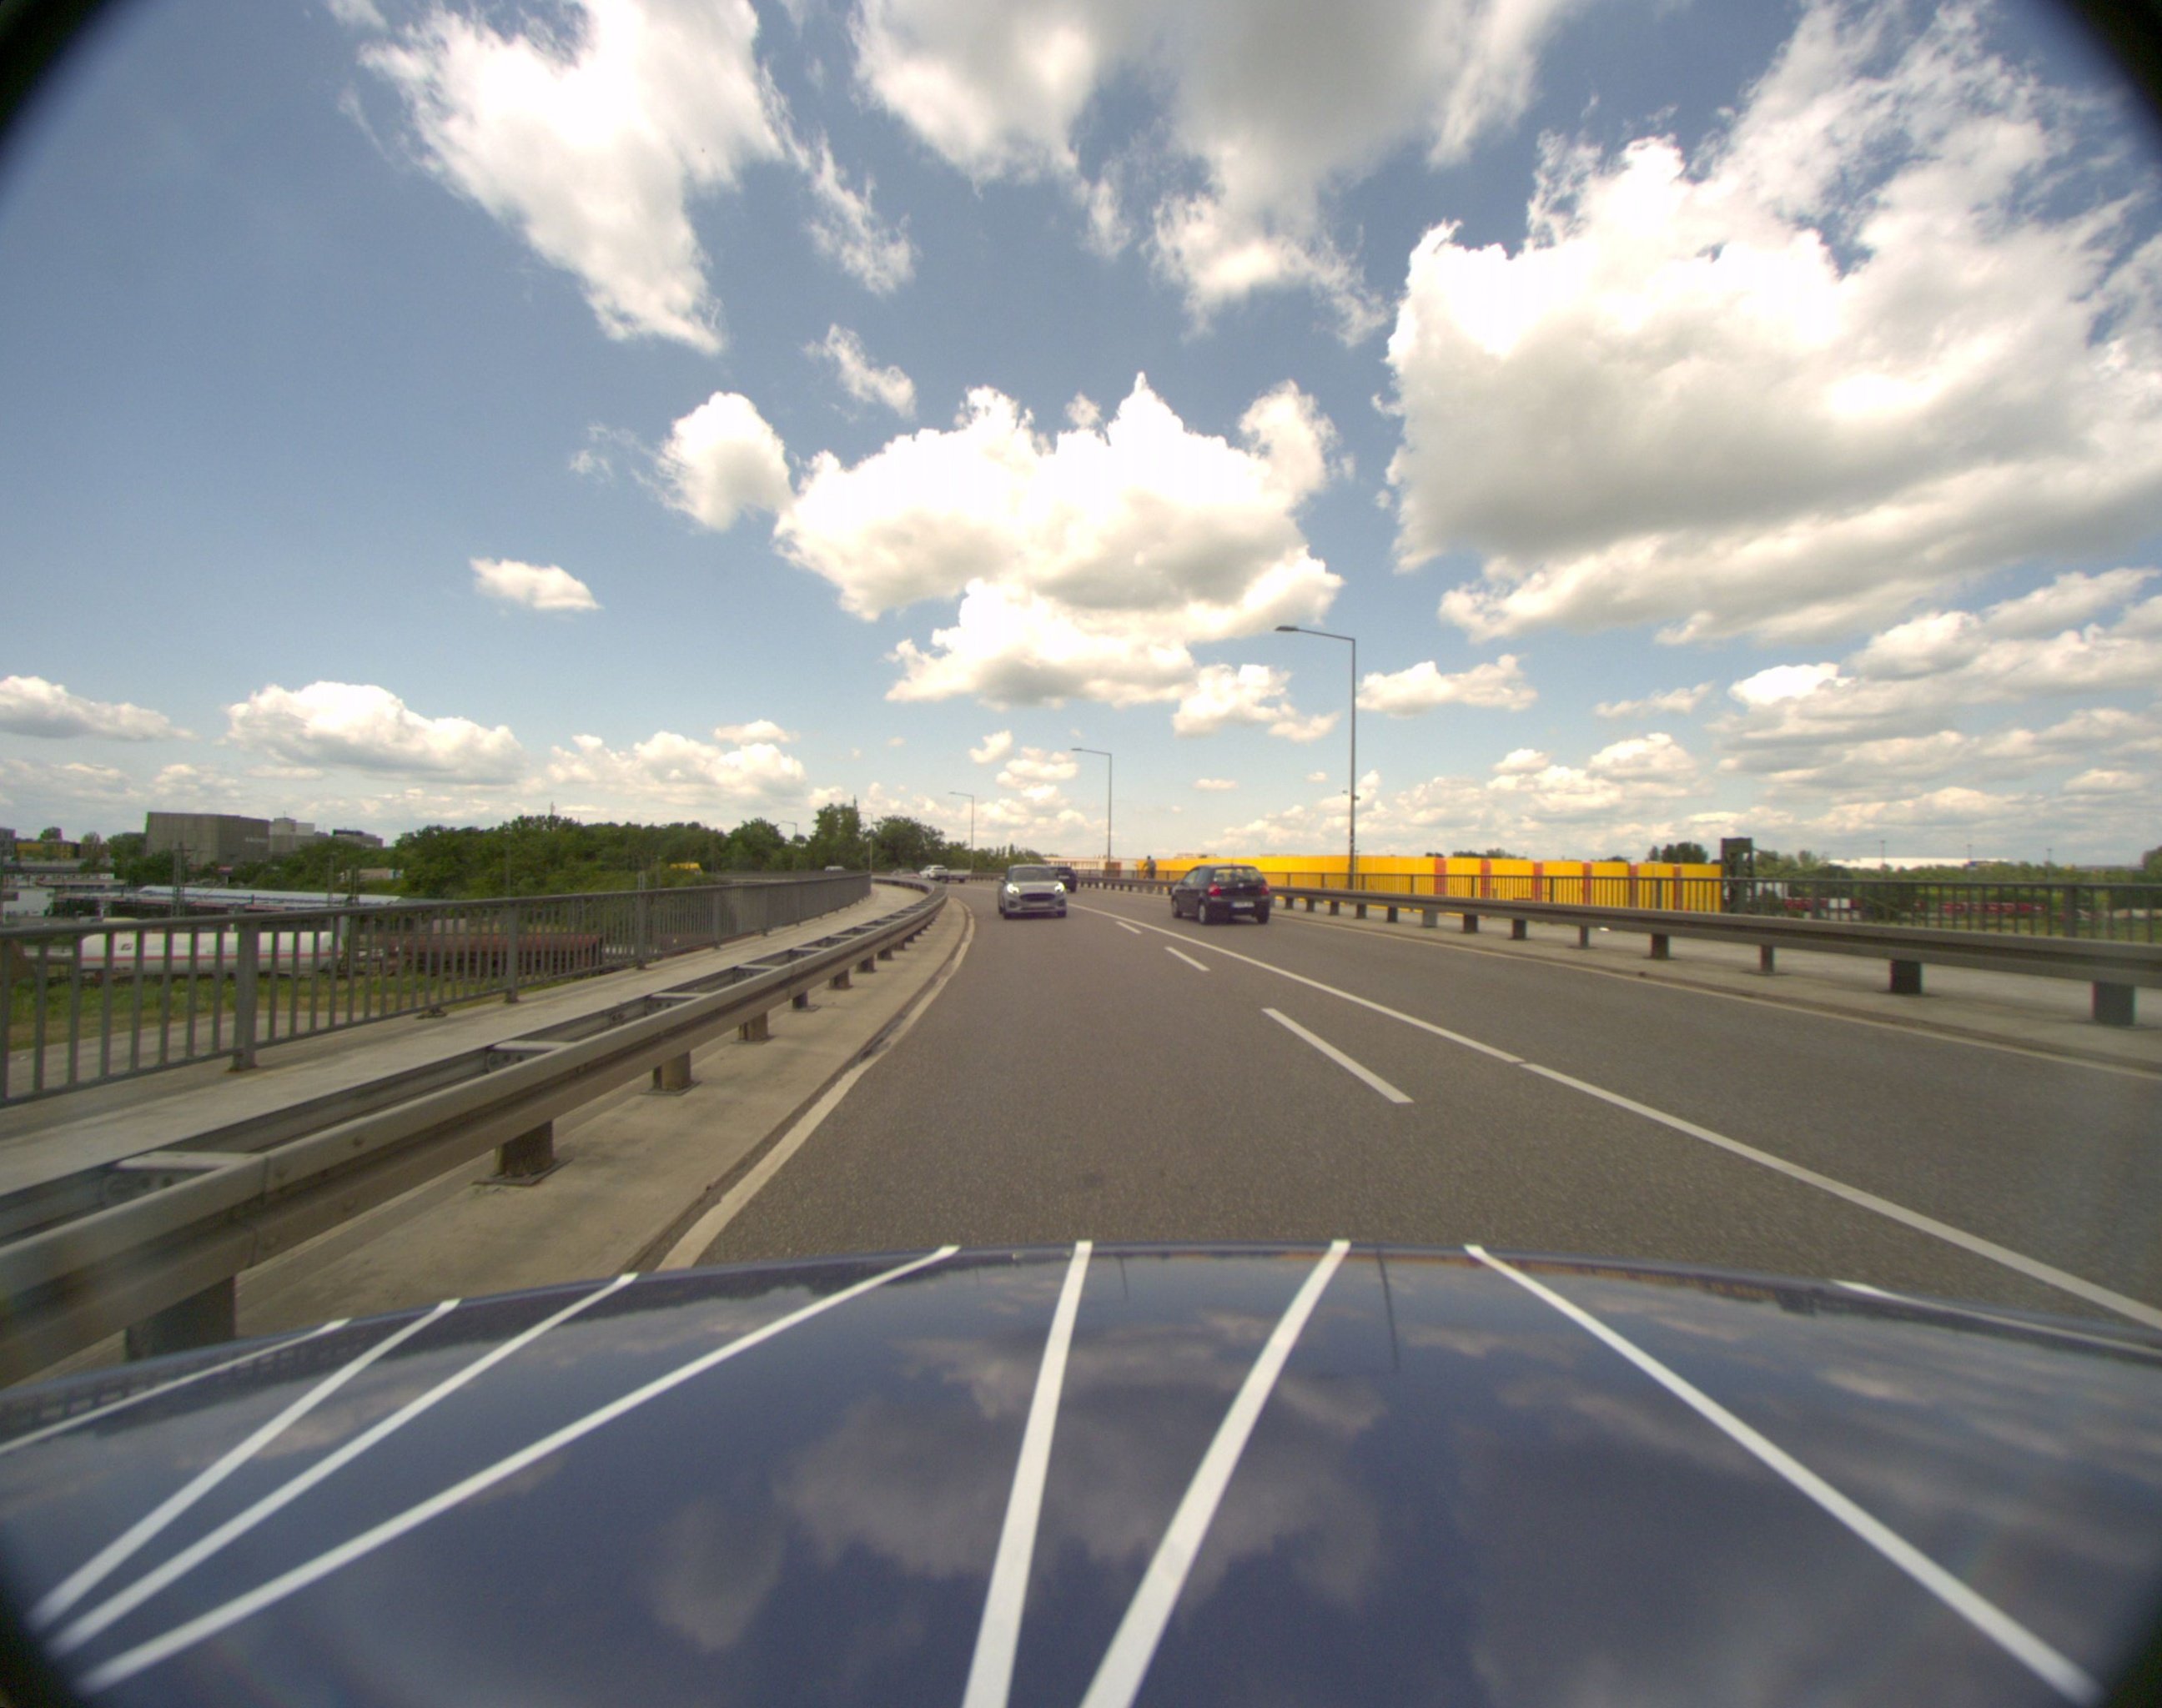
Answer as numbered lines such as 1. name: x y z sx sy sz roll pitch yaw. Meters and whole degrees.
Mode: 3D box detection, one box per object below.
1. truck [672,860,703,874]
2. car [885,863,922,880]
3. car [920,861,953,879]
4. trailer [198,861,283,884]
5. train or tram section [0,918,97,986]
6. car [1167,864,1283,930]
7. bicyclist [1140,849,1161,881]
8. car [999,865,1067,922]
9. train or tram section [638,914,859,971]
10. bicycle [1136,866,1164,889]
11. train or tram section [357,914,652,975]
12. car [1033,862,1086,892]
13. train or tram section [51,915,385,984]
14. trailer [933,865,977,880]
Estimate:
1. truck: -61.422 2.033 118.620 6.127 2.002 2.004 0 0 38
2. car: -14.481 1.384 61.878 1.832 1.330 3.990 1 0 -31
3. car: -13.007 1.397 68.293 1.814 1.526 4.340 -1 0 -25
4. trailer: -168.822 3.752 152.629 14.219 4.255 2.715 -1 1 1
5. train or tram section: -78.923 6.624 50.593 17.710 4.130 3.206 1 2 -17
6. car: 3.513 1.001 19.291 1.820 1.443 3.924 -2 0 -5
7. bicyclist: 3.559 0.571 38.867 0.770 1.593 0.946 0 0 -15
8. car: -1.508 1.109 22.940 1.828 1.515 3.998 -1 0 -6
9. train or tram section: -27.237 7.332 63.139 16.606 4.130 3.137 1 2 -7
10. bicycle: 3.533 1.194 39.001 0.772 1.088 2.112 0 0 -15
11. train or tram section: -44.825 7.039 60.072 18.907 4.130 3.215 1 2 -13
12. car: -1.219 1.192 40.748 1.824 1.442 4.732 -1 -1 -14
13. train or tram section: -62.242 6.813 55.583 16.976 4.130 3.212 1 2 -16
14. trailer: -10.645 1.537 63.668 2.054 1.202 5.971 -1 0 -26
